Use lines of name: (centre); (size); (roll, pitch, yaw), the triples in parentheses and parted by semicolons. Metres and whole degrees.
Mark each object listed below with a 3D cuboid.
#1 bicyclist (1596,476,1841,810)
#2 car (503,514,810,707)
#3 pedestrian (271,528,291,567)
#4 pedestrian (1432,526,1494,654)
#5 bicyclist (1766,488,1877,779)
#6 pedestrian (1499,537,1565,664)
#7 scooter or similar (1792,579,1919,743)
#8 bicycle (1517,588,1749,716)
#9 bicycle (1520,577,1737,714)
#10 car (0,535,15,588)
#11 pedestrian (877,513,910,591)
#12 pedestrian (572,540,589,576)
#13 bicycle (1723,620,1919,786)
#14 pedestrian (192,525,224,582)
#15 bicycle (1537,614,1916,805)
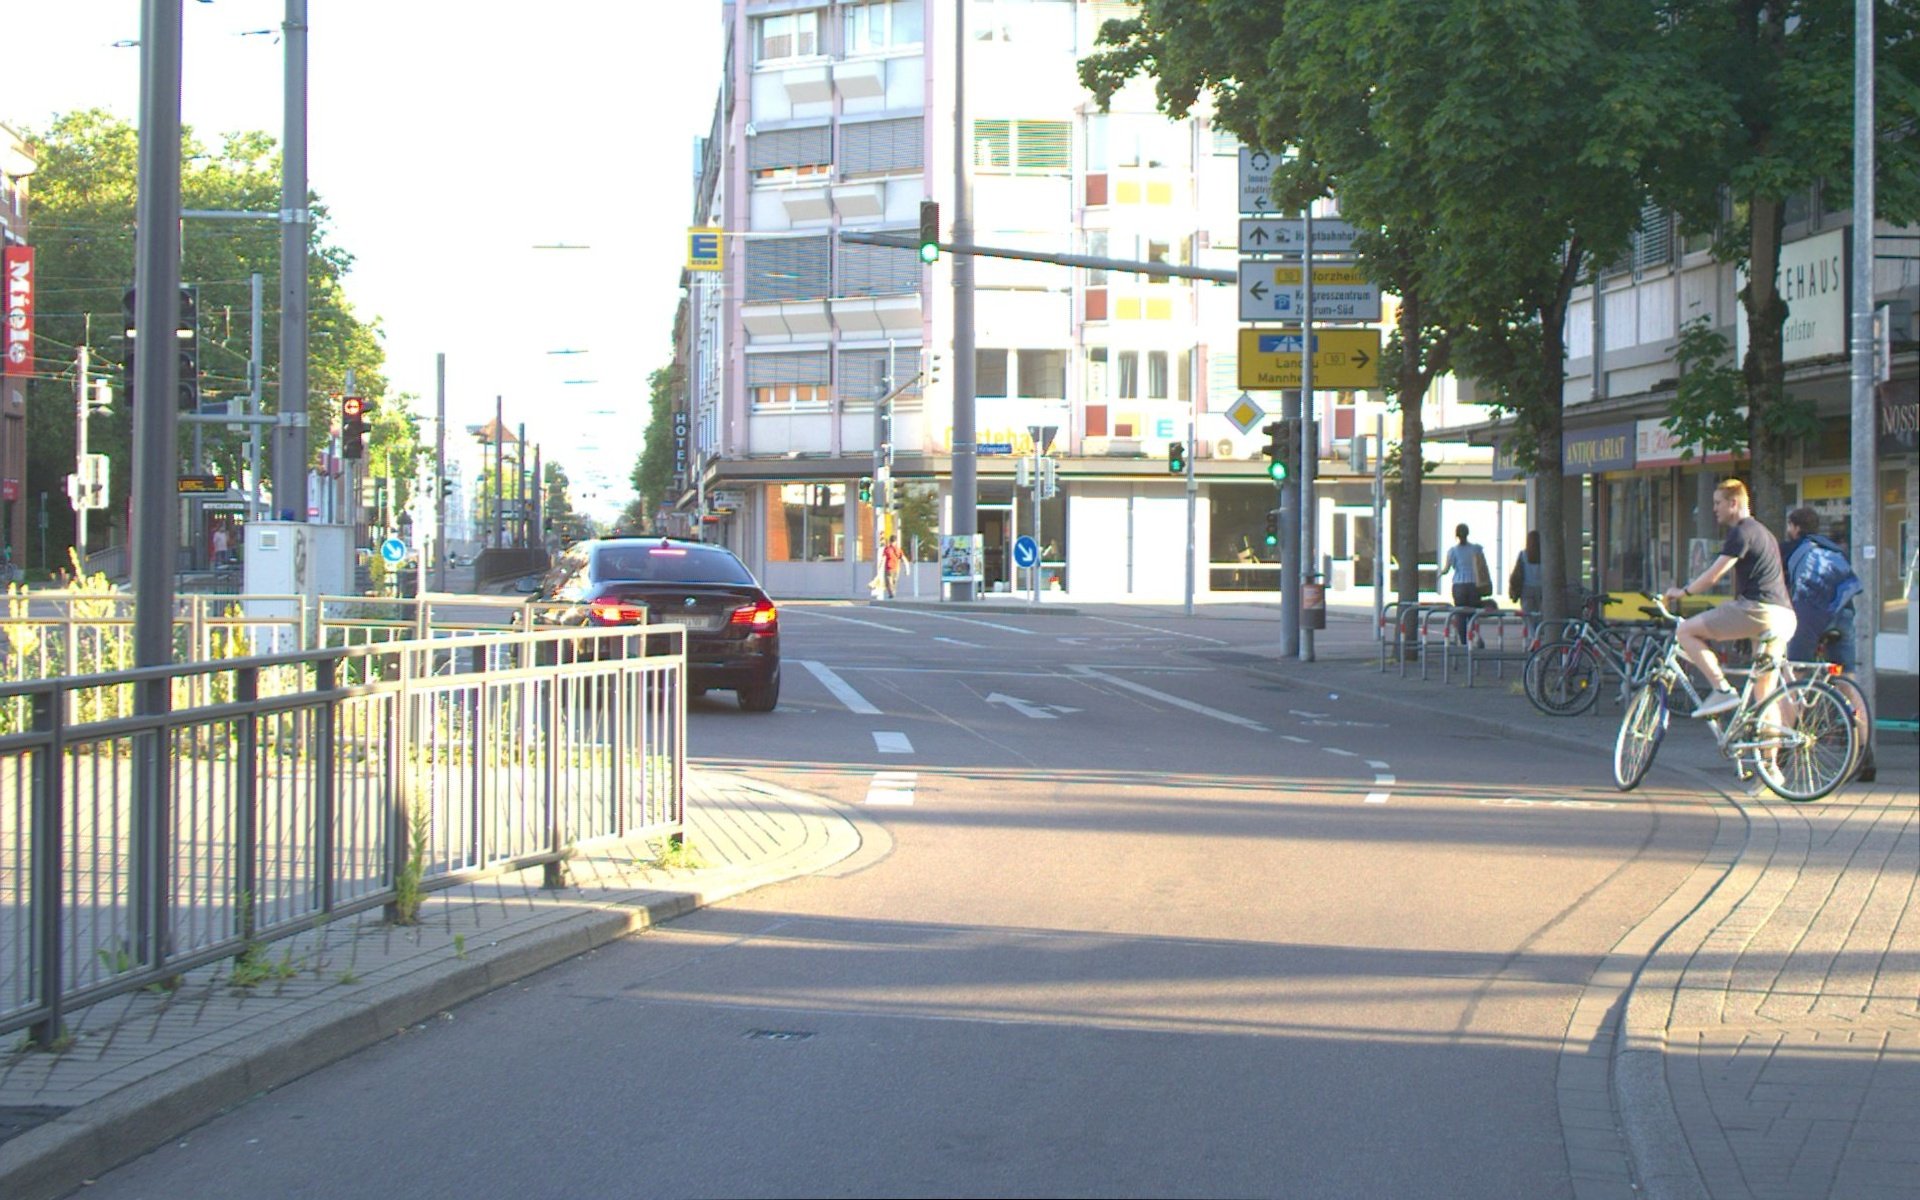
bicyclist: (4.477, 0.231, 20.318); (0.838, 1.910, 1.114); (-1, 1, -42)
car: (-2.743, 0.040, 30.221); (1.993, 1.579, 4.001); (0, 1, -16)
pedestrian: (-29.210, -2.252, 147.924); (0.723, 1.675, 0.991); (0, 1, -3)
pedestrian: (6.597, -0.135, 45.095); (0.684, 1.661, 0.671); (0, 1, -2)
bicyclist: (5.477, 0.206, 21.871); (0.464, 1.824, 0.559); (0, 1, -13)
pedestrian: (7.568, -0.002, 45.518); (0.723, 1.661, 0.671); (0, 1, -2)
scooter or similar: (7.085, 0.466, 26.486); (1.276, 1.231, 0.338); (1, 1, 37)
bicycle: (6.027, 0.460, 30.855); (1.997, 1.107, 0.668); (1, 1, 8)
bicycle: (6.178, 0.412, 31.823); (1.904, 1.231, 0.668); (1, 1, 6)
car: (-29.459, -1.155, 102.302); (1.993, 1.579, 4.480); (0, 1, -8)
pedestrian: (-1.594, -1.153, 81.940); (0.684, 1.848, 0.671); (0, 1, -9)
pedestrian: (-21.560, -2.387, 195.282); (0.914, 2.007, 0.887); (0, 1, -6)
bicycle: (5.476, 0.632, 21.881); (0.464, 0.967, 1.801); (0, 1, -13)
pedestrian: (-26.874, -1.659, 122.876); (0.987, 2.007, 0.726); (2, 0, -7)
bicycle: (4.501, 0.617, 20.305); (0.838, 1.016, 2.076); (-1, 1, -42)
